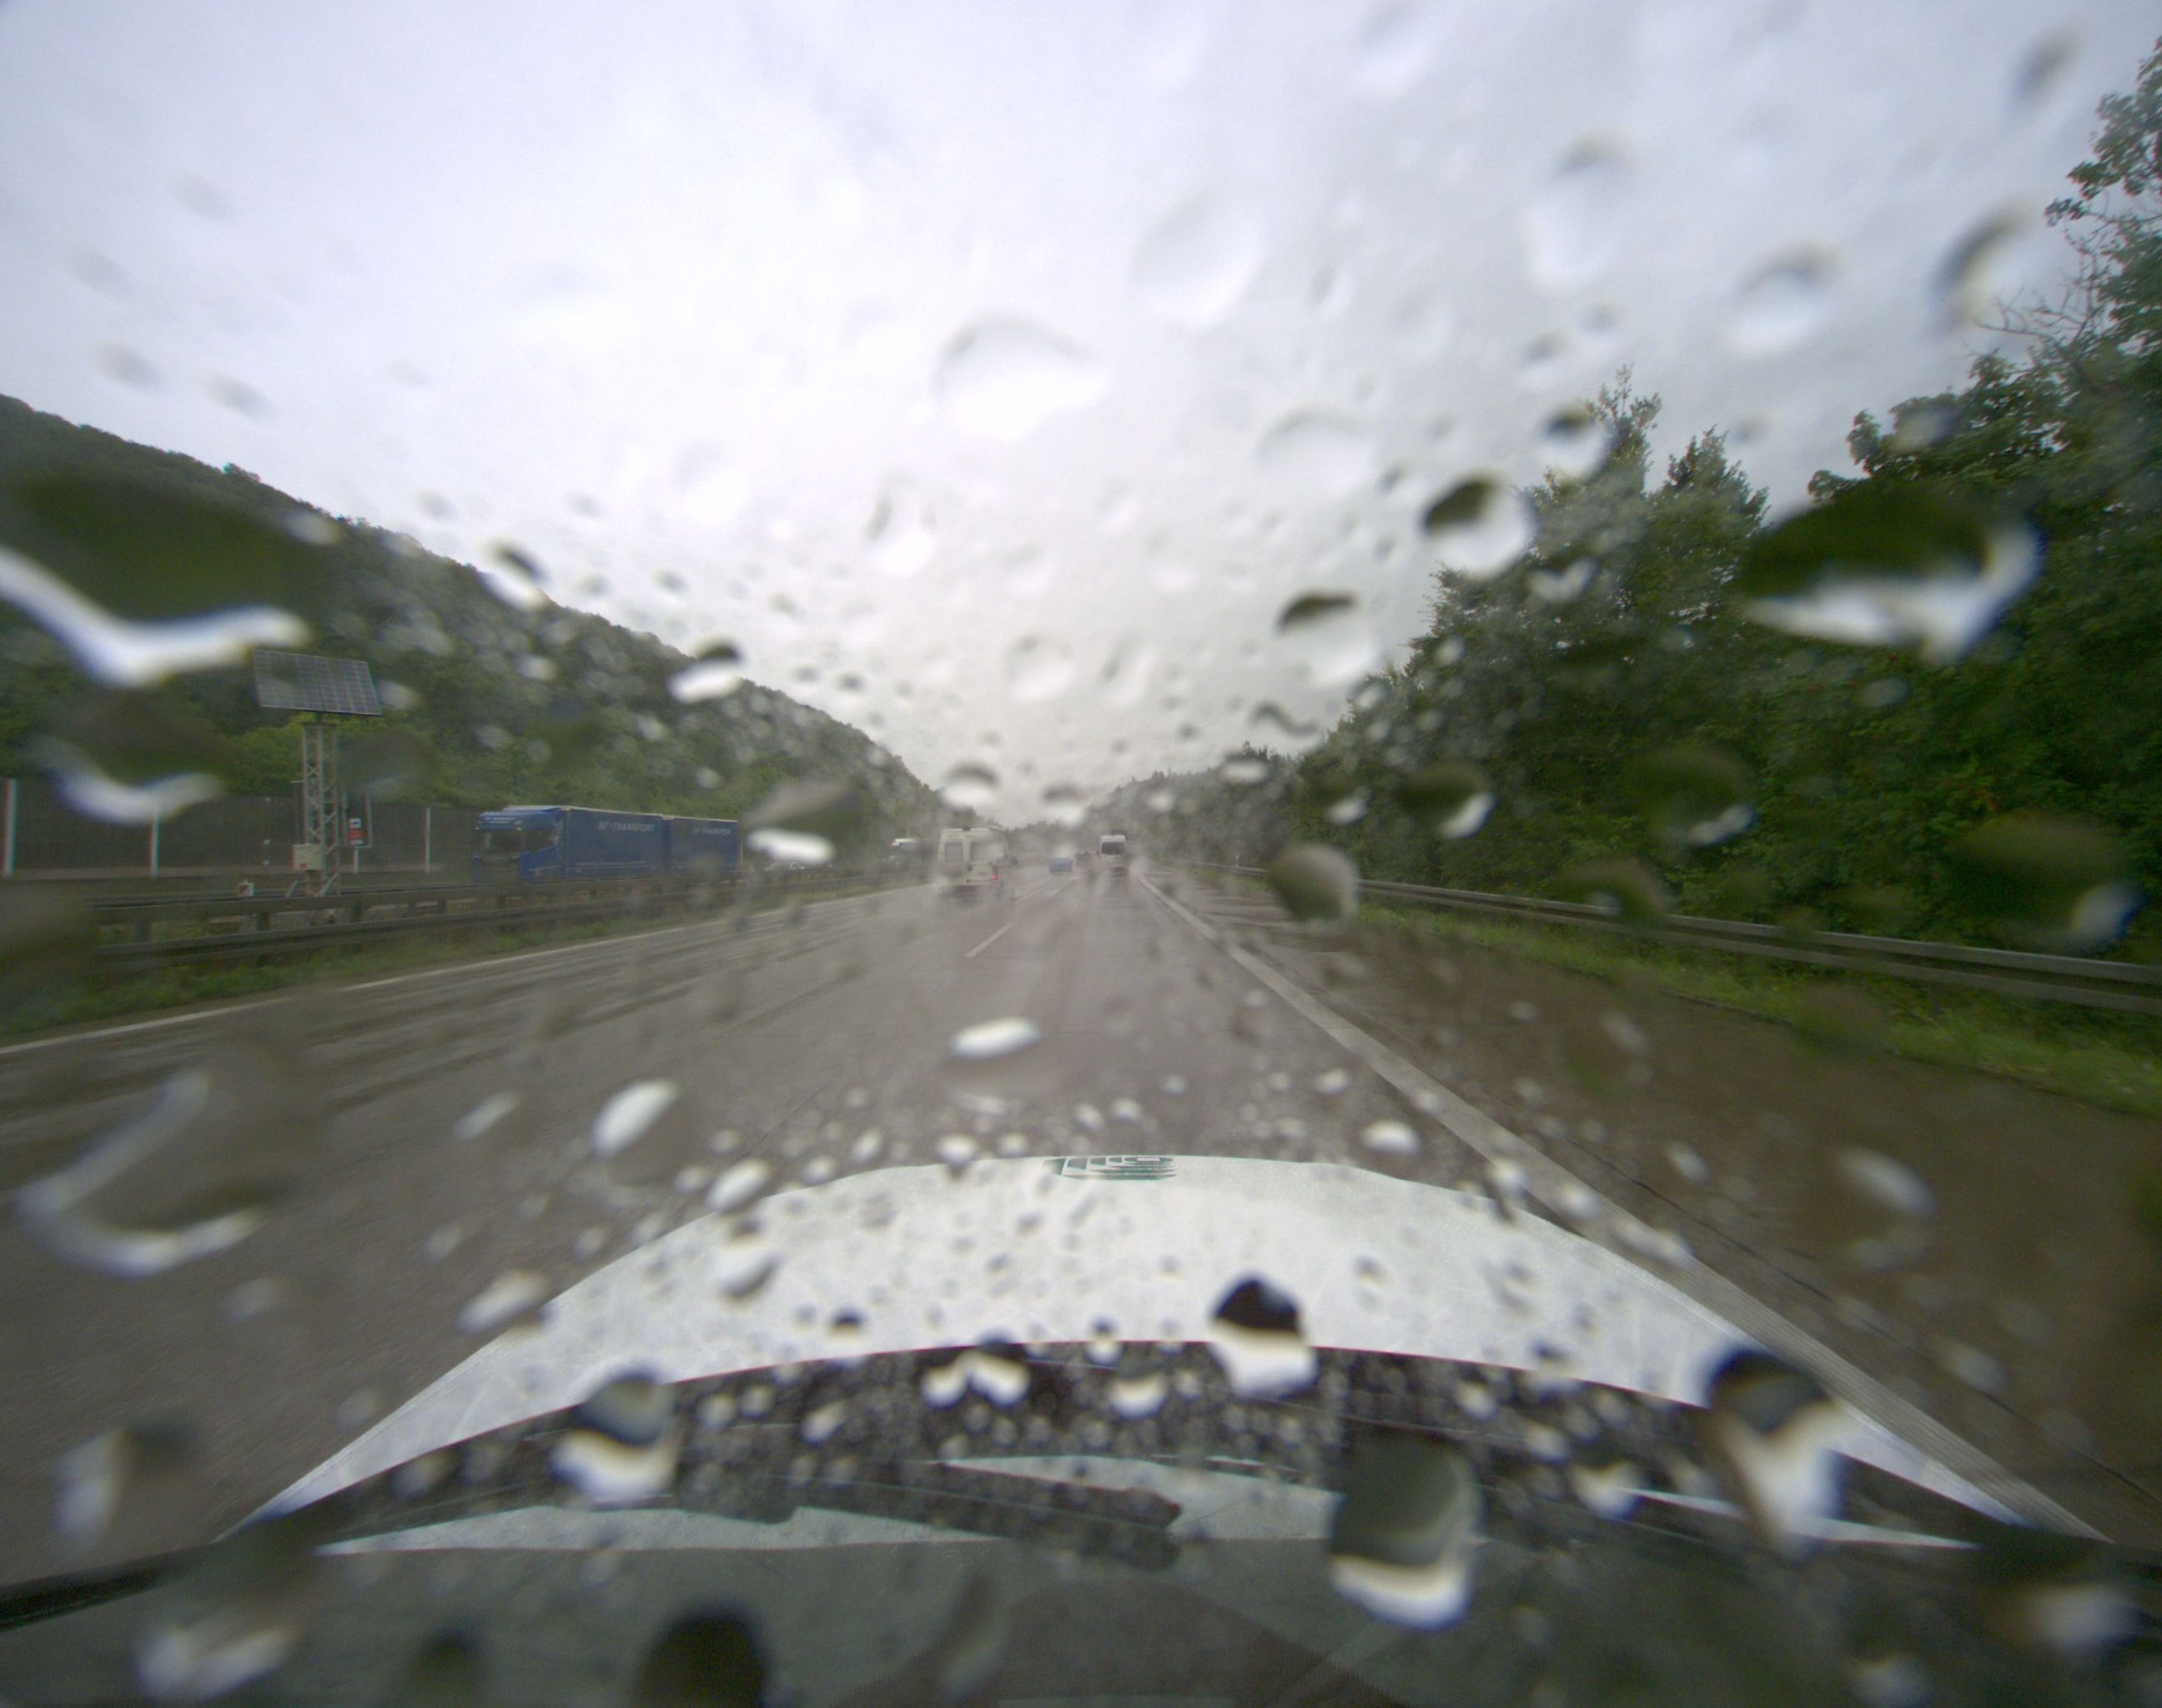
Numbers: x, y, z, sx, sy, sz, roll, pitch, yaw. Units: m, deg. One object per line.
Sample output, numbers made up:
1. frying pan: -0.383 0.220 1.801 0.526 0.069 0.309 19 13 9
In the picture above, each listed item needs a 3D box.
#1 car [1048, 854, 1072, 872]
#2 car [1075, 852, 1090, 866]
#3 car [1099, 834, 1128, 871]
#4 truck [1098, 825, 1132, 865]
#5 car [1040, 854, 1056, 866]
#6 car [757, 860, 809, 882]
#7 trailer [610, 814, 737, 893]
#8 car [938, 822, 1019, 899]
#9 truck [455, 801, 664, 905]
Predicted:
1. car: -1.641 0.686 65.066 1.851 1.339 4.349 0 0 -1
2. car: 0.226 0.606 101.607 1.862 1.810 4.189 0 0 1
3. car: 2.131 -0.086 54.604 1.893 2.334 5.251 0 0 1
4. truck: 3.490 -1.075 85.356 3.372 3.967 8.671 0 2 2
5. car: -3.918 0.684 97.021 1.851 1.339 4.350 0 0 -1
6. car: -19.594 1.110 53.782 1.746 1.339 4.426 0 0 1
7. trailer: -23.156 -0.038 46.948 2.838 4.154 8.528 0 0 2
8. car: -3.447 0.192 28.475 1.991 2.432 5.792 0 0 1
9. truck: -23.402 -0.041 37.561 2.838 4.154 10.182 0 0 2
